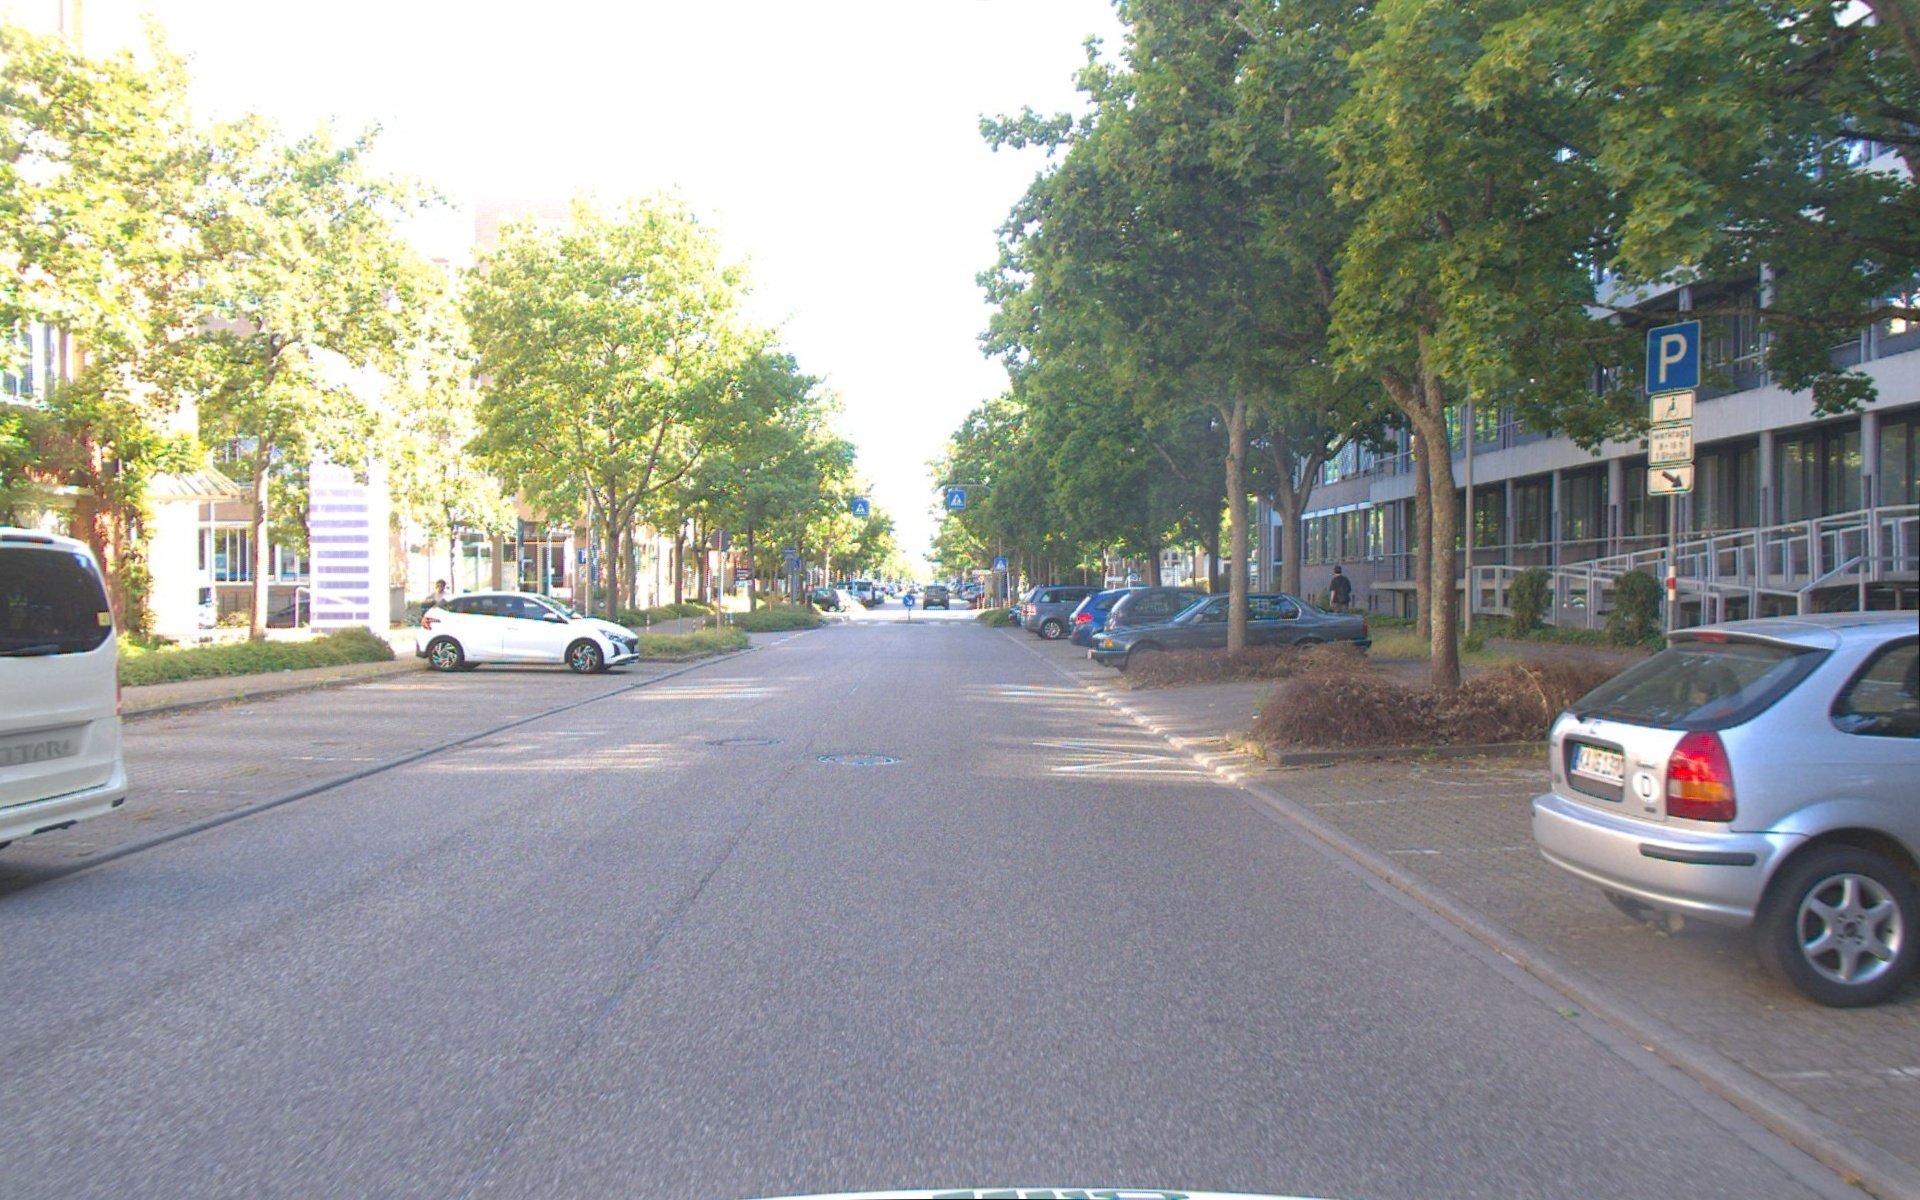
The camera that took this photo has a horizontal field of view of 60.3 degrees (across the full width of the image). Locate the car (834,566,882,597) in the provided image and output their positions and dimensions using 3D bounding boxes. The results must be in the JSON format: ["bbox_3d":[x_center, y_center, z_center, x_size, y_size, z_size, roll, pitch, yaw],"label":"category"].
[{"bbox_3d":[-8.707,-1.590,141.198,3.903,2.585,1.863,0,0,3],"label":"car"}]

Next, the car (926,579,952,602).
[{"bbox_3d":[-1.609,-0.701,125.348,1.953,1.668,3.999,1,0,-1],"label":"car"}]

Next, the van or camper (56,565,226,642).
[{"bbox_3d":[-31.001,0.116,62.719,5.260,2.720,2.180,-1,2,-2],"label":"van or camper"}]

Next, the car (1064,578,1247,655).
[{"bbox_3d":[4.341,0.355,37.200,3.868,1.541,1.813,-2,0,0],"label":"car"}]

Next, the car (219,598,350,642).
[{"bbox_3d":[-25.628,0.730,62.810,4.106,1.502,2.000,-1,2,-1],"label":"car"}]

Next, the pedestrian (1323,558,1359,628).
[{"bbox_3d":[9.805,-0.185,42.566,0.595,1.776,1.191,-1,0,-1],"label":"pedestrian"}]

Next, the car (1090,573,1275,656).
[{"bbox_3d":[4.604,0.282,34.621,3.567,1.541,1.812,-2,0,-1],"label":"car"}]

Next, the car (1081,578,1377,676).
[{"bbox_3d":[4.598,0.444,28.758,4.729,1.444,2.031,-2,0,-3],"label":"car"}]

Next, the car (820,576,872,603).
[{"bbox_3d":[-9.092,-0.859,132.686,3.903,2.049,2.001,-1,0,3],"label":"car"}]

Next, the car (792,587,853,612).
[{"bbox_3d":[-8.792,-0.039,105.647,3.776,1.499,1.809,1,0,-8],"label":"car"}]

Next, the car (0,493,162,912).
[{"bbox_3d":[-7.159,0.435,8.462,5.151,2.001,1.942,1,0,-1],"label":"car"}]

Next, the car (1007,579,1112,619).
[{"bbox_3d":[4.116,-0.047,68.689,4.108,1.498,1.811,-2,0,-4],"label":"car"}]

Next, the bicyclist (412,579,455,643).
[{"bbox_3d":[-11.501,0.231,36.161,0.593,1.377,0.913,-1,0,3],"label":"bicyclist"}]

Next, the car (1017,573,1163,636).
[{"bbox_3d":[3.996,0.134,51.334,4.265,1.733,1.811,-2,0,-4],"label":"car"}]

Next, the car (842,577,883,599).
[{"bbox_3d":[-9.394,-1.138,160.321,3.907,2.049,1.999,-1,0,-3],"label":"car"}]

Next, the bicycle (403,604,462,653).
[{"bbox_3d":[-11.501,0.611,36.142,0.593,0.998,1.864,-1,0,3],"label":"bicycle"}]

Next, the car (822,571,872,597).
[{"bbox_3d":[-9.280,-1.329,136.106,3.903,2.049,2.001,-1,0,3],"label":"car"}]

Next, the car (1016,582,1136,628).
[{"bbox_3d":[4.203,0.159,60.244,4.108,1.474,1.811,-2,0,-4],"label":"car"}]

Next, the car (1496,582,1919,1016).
[{"bbox_3d":[4.430,0.649,6.741,3.890,1.444,1.709,-2,0,-3],"label":"car"}]

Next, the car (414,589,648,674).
[{"bbox_3d":[-7.946,0.561,30.883,3.906,1.512,1.806,0,0,-2],"label":"car"}]

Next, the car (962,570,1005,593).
[{"bbox_3d":[2.215,-1.757,154.995,3.907,2.049,1.999,-1,0,-3],"label":"car"}]

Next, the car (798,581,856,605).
[{"bbox_3d":[-8.919,-0.456,110.412,3.775,1.499,1.810,1,0,-7],"label":"car"}]

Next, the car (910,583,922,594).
[{"bbox_3d":[-6.536,-1.684,246.669,1.776,1.551,4.000,-1,0,0],"label":"car"}]
